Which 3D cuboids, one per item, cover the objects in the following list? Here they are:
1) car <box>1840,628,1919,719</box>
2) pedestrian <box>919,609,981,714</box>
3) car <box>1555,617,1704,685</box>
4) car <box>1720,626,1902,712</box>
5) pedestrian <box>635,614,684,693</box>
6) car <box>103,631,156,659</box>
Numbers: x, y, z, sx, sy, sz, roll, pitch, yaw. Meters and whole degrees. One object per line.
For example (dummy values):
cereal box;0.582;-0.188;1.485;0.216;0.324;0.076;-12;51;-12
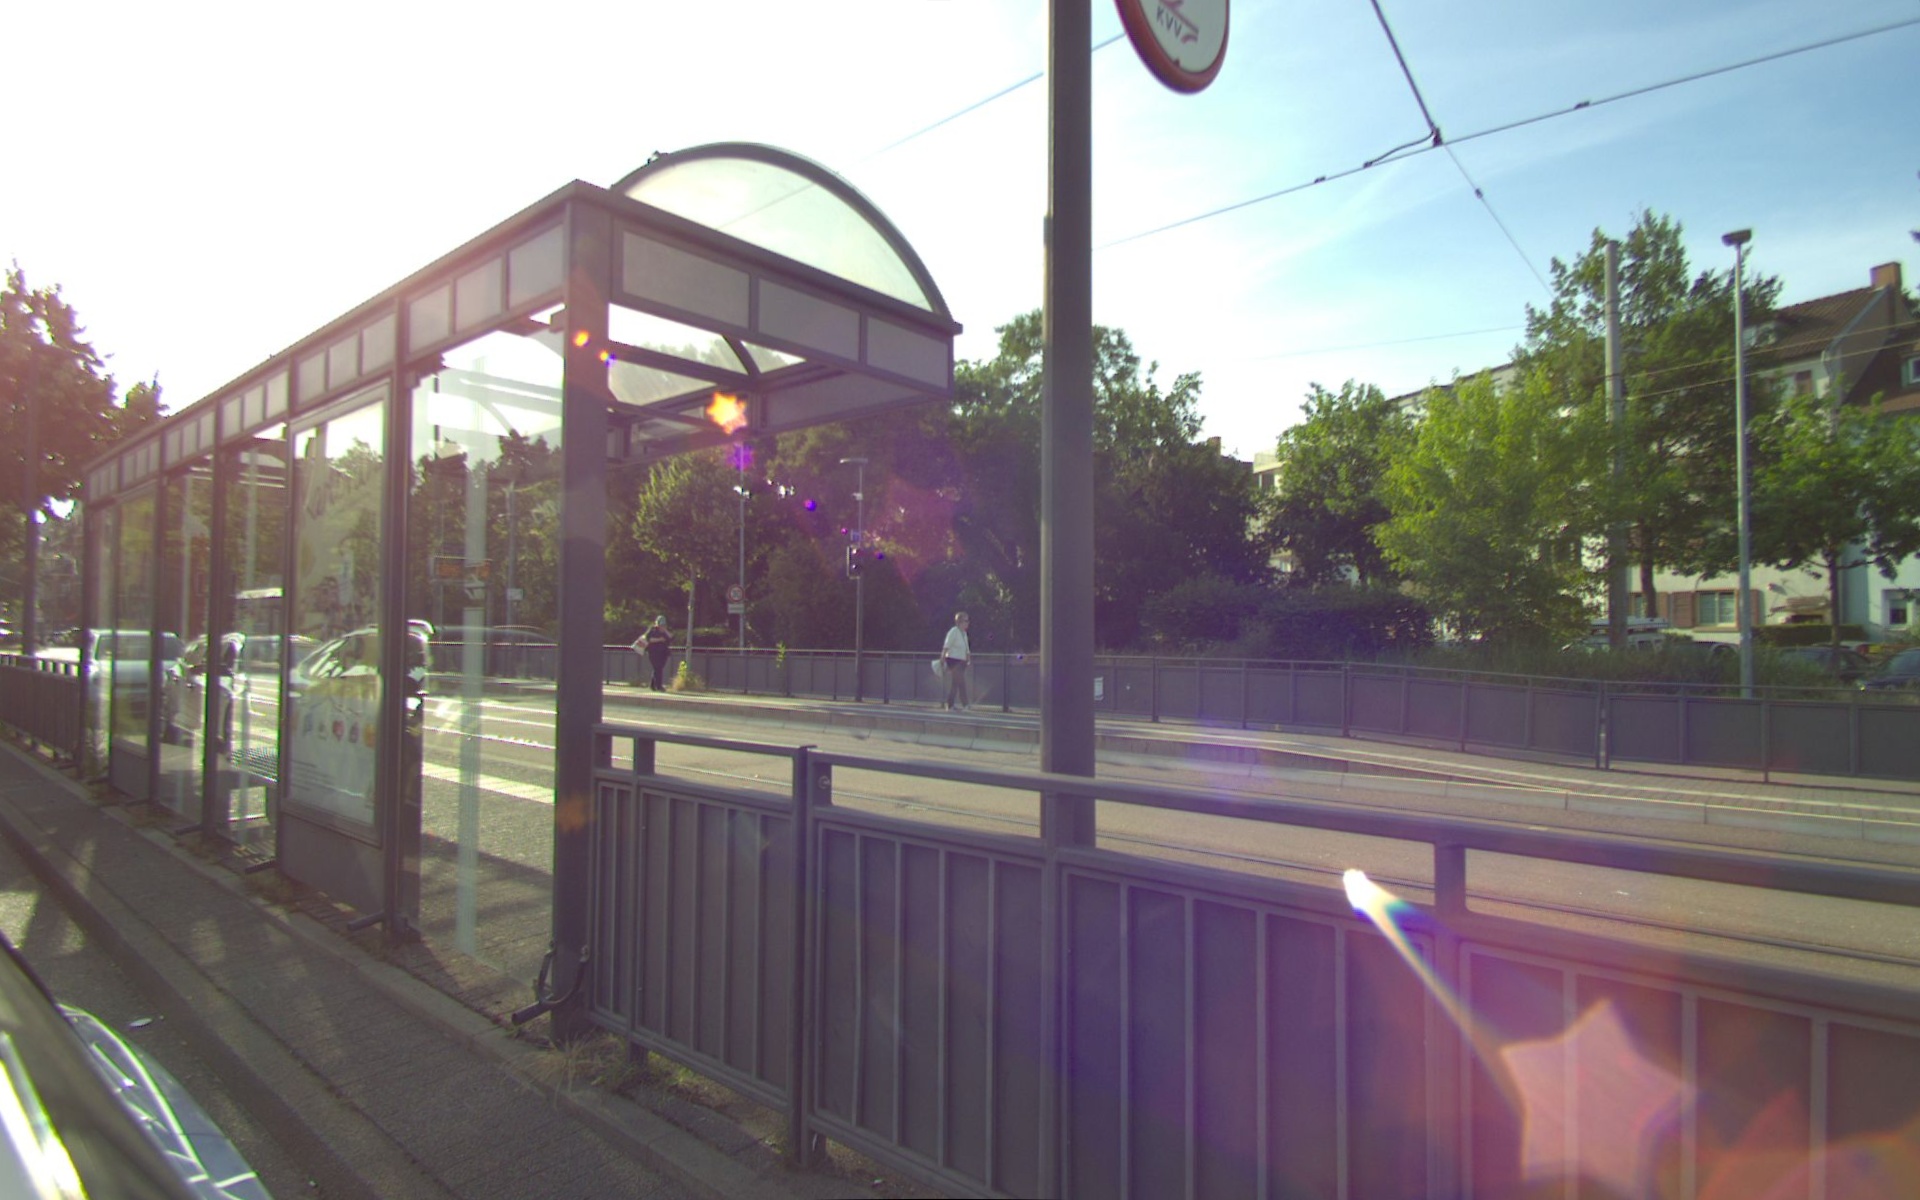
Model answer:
car;20.212;1.494;20.921;3.931;1.767;1.860;2;-3;-30
pedestrian;-0.158;0.983;16.420;0.727;1.640;0.699;-2;-3;41
car;18.455;1.393;27.892;3.931;1.767;1.860;2;-3;-30
car;19.000;1.488;22.573;3.931;1.767;1.860;2;-3;-30
pedestrian;-6.379;1.130;21.512;0.689;1.640;0.727;-2;-3;41
car;-62.217;3.380;75.775;3.990;2.029;1.977;-1;-3;34
